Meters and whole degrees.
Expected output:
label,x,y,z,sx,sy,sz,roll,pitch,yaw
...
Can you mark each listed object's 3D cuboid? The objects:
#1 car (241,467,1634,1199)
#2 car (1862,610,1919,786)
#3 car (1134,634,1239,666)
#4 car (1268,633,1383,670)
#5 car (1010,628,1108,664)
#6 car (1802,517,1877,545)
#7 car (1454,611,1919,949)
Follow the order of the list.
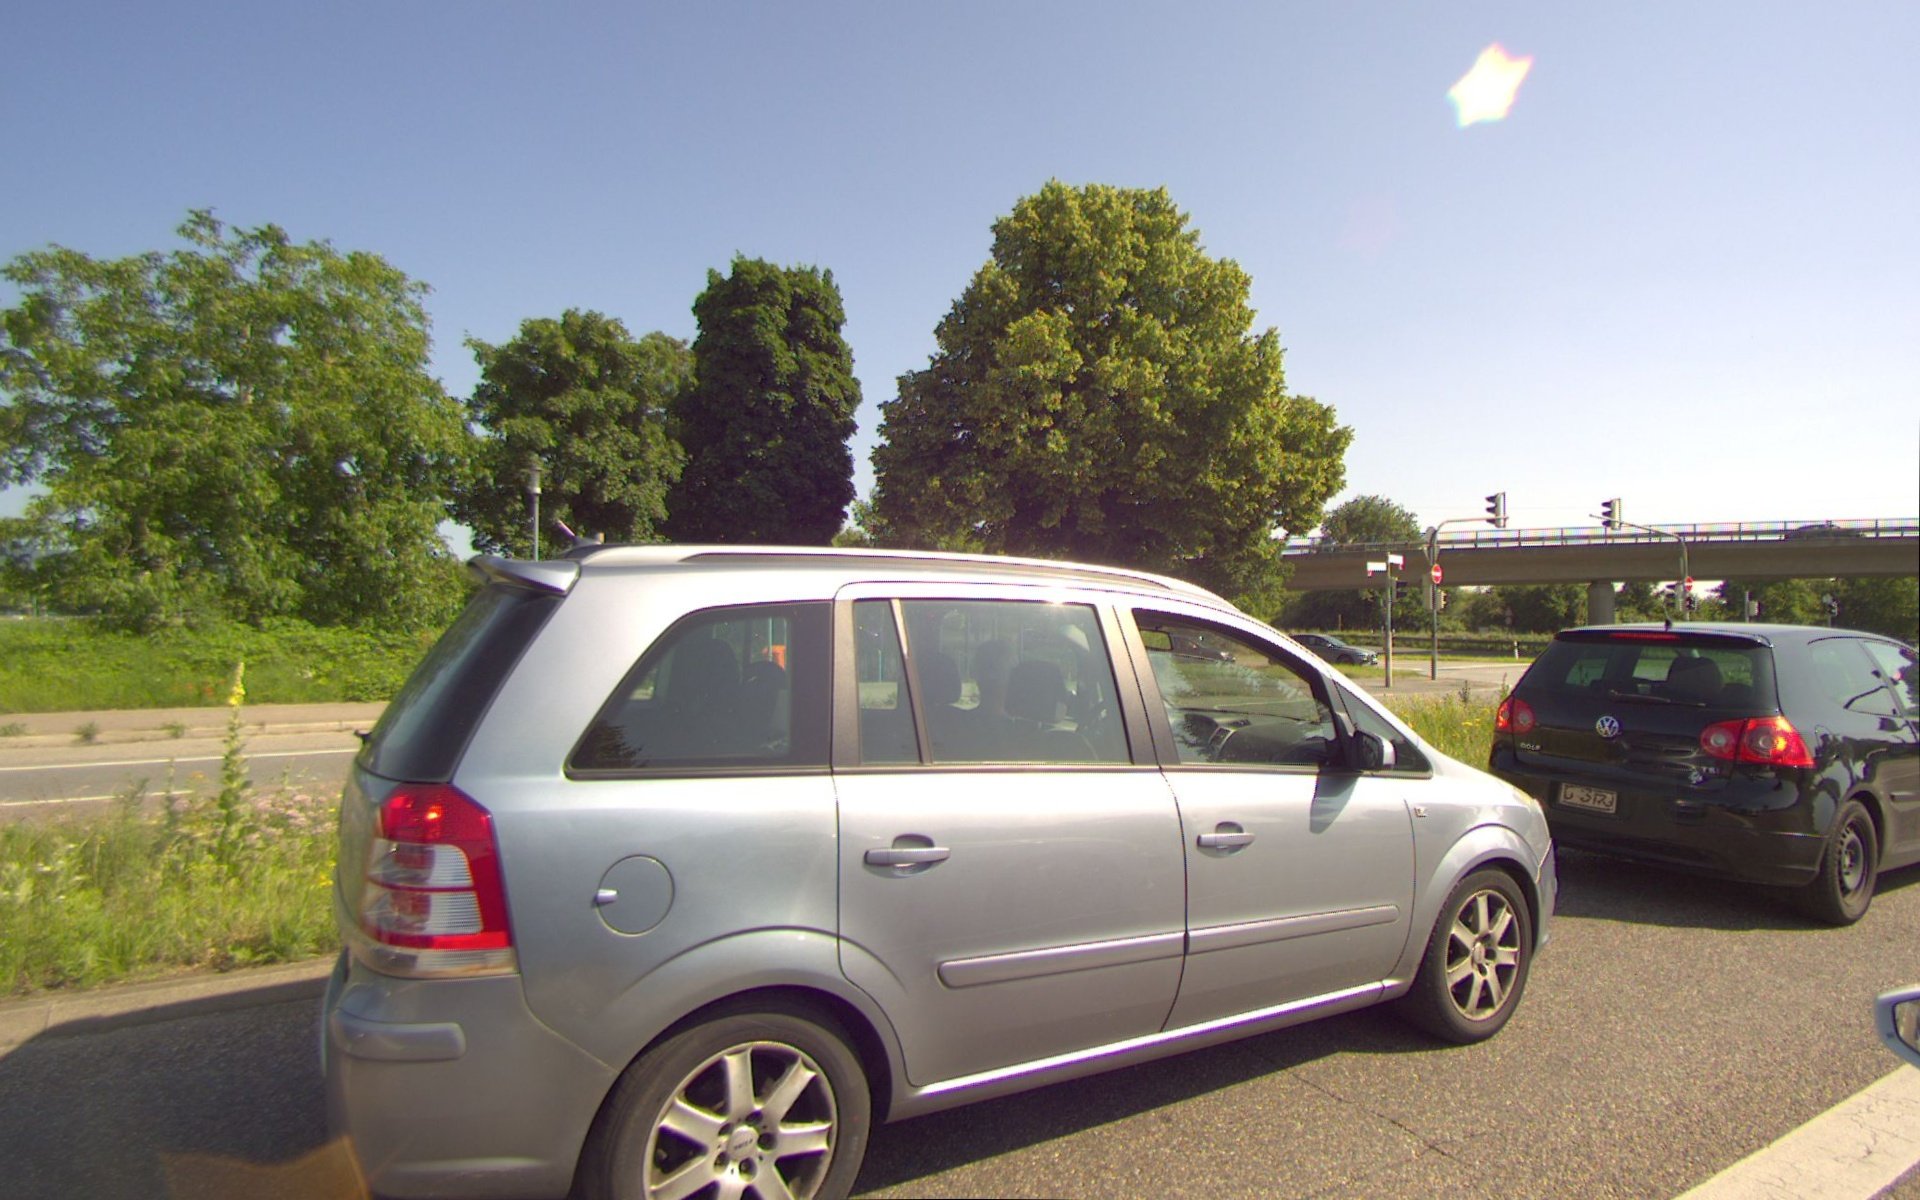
label,x,y,z,sx,sy,sz,roll,pitch,yaw
car,0.264,0.646,3.485,4.305,1.695,1.733,1,0,-30
car,10.539,0.898,9.580,4.049,1.568,1.720,1,0,-30
car,10.036,2.192,44.657,4.279,1.297,1.647,-1,-2,32
car,15.047,2.084,41.455,4.066,1.443,1.862,-1,-2,41
car,4.618,2.136,47.100,4.272,1.616,1.650,-1,-2,25
car,52.787,-4.109,60.324,3.133,1.505,1.325,0,-1,10
car,5.073,0.830,6.220,4.049,1.494,1.658,1,0,-30
